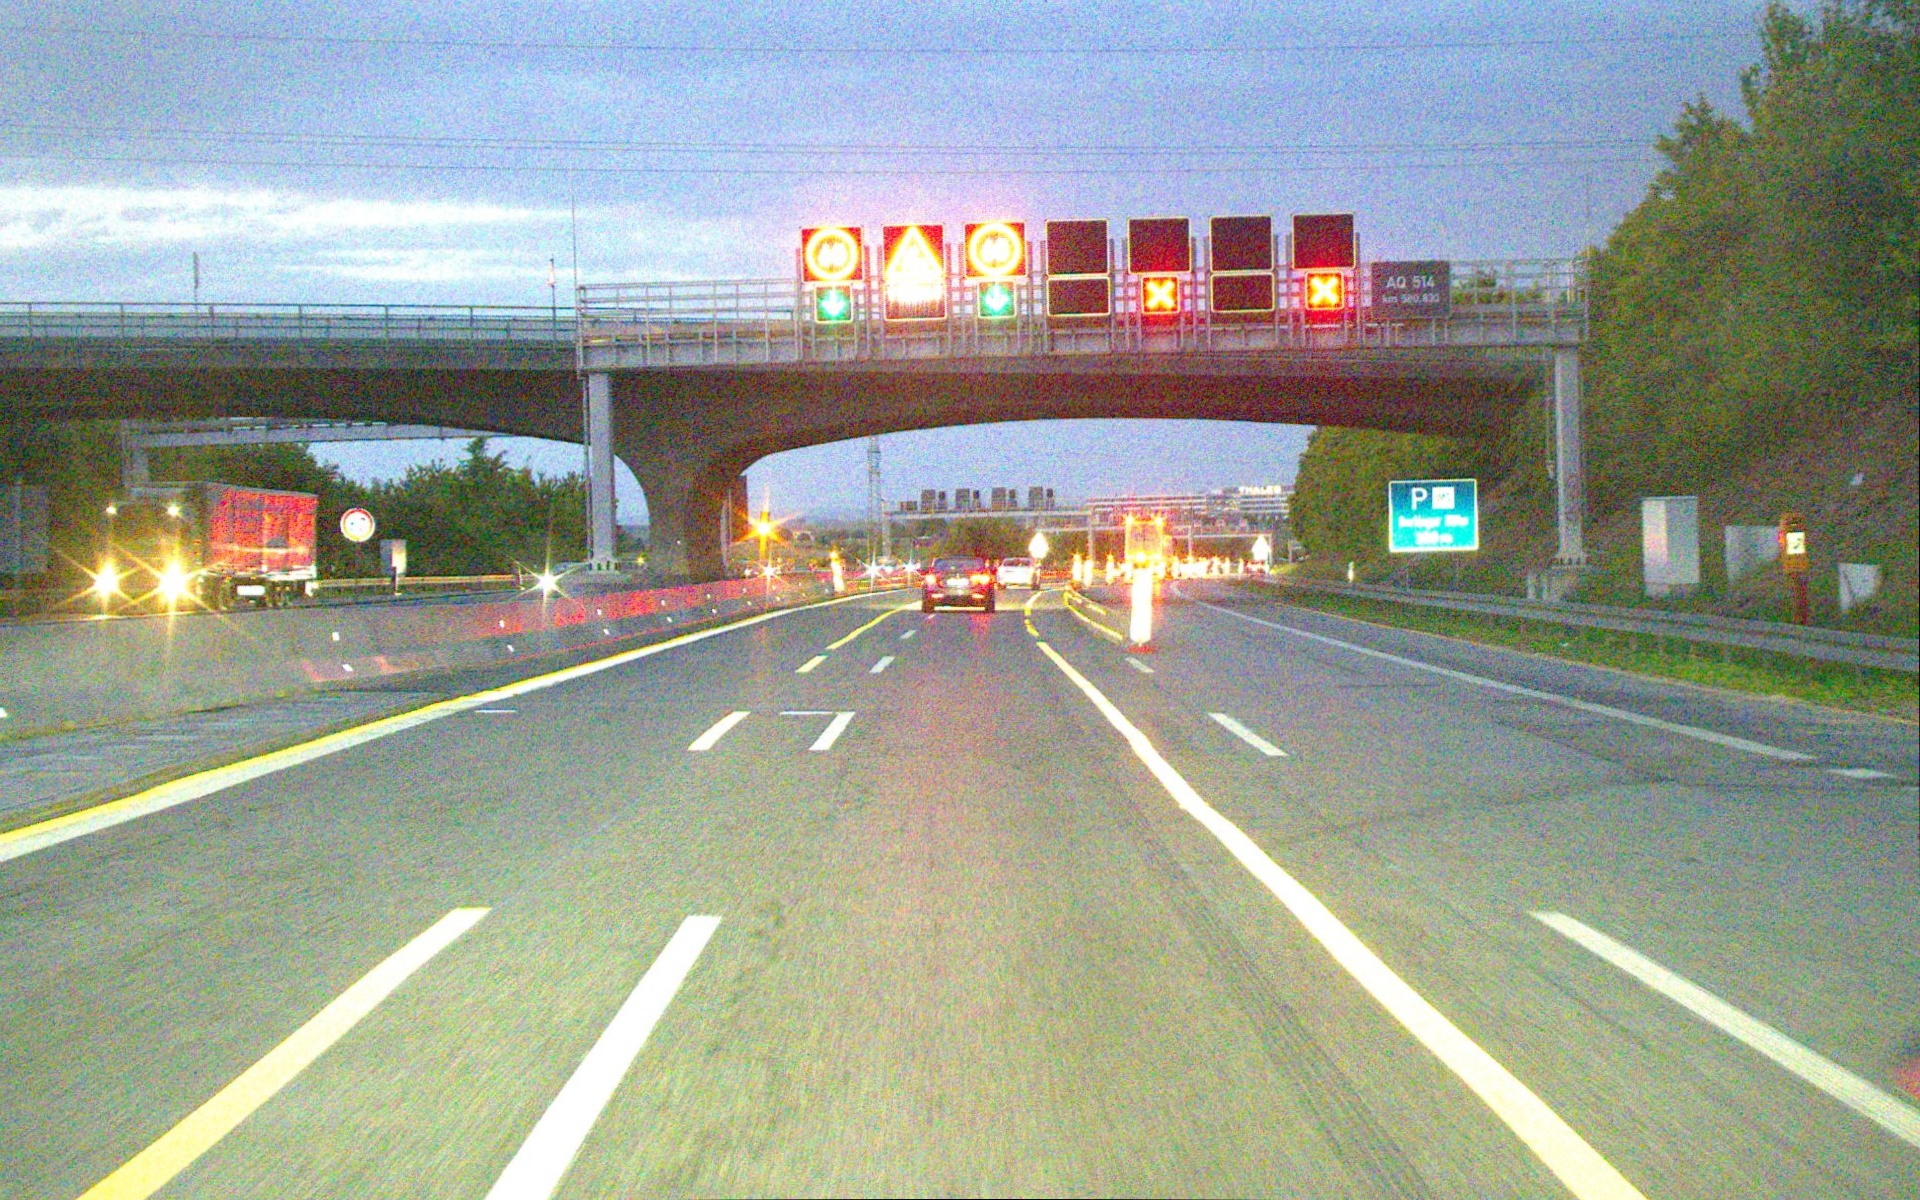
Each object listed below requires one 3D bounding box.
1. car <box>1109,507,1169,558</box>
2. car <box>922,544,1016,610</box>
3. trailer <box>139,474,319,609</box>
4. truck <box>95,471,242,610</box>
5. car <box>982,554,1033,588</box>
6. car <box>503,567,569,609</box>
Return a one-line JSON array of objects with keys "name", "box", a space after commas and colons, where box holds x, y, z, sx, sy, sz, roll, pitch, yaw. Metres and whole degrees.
[{"name": "car", "box": [12.242, -4.599, 235.915, 3.605, 3.384, 8.014, 1, 0, 0]}, {"name": "car", "box": [0.208, -0.588, 88.790, 2.265, 1.616, 4.000, 1, 0, -2]}, {"name": "trailer", "box": [-24.289, -1.898, 114.959, 2.779, 4.191, 12.401, 1, 0, 2]}, {"name": "truck", "box": [-24.617, -1.817, 107.206, 2.777, 4.157, 6.385, 1, 0, 3]}, {"name": "car", "box": [2.087, -1.253, 149.421, 1.972, 1.432, 4.000, 1, 0, 4]}, {"name": "car", "box": [-17.636, -0.503, 143.160, 1.994, 1.670, 4.515, 1, 0, 3]}]
